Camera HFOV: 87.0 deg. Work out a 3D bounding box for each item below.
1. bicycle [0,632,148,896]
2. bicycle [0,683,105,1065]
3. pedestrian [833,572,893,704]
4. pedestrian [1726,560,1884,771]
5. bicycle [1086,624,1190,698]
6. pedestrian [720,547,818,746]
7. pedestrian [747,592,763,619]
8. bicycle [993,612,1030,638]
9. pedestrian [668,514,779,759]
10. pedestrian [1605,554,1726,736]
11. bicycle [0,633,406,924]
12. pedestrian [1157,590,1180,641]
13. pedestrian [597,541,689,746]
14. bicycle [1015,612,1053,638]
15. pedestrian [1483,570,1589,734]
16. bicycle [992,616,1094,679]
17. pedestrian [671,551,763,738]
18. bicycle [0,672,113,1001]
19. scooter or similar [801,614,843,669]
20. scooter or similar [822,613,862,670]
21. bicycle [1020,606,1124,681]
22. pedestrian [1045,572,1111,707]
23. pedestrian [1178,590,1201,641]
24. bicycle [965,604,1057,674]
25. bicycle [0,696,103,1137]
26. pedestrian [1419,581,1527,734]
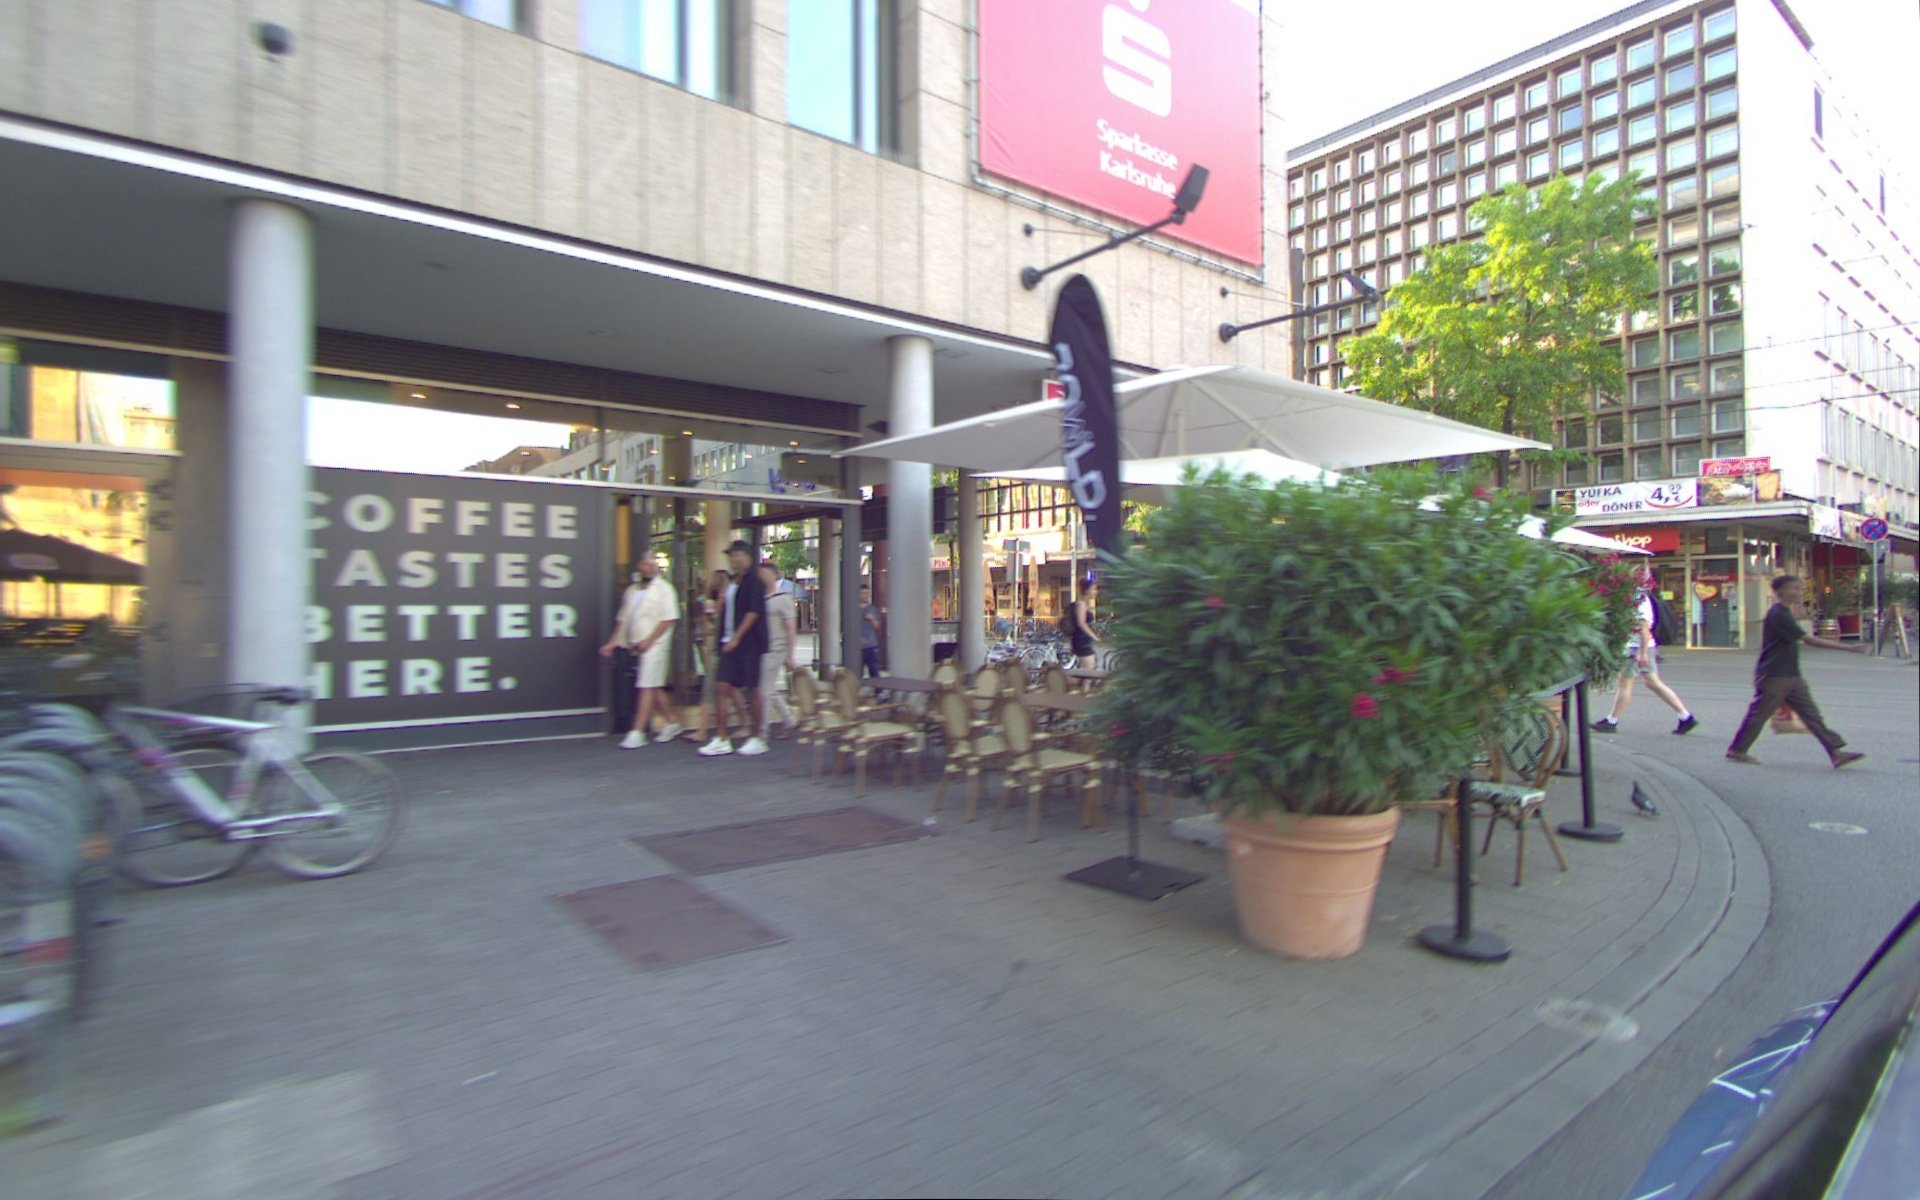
[{"bbox_3d":[-4.697,0.743,4.387,0.545,1.131,1.784,1,1,43],"label":"bicycle"},{"bbox_3d":[-3.454,0.822,2.780,1.654,1.054,0.560,0,1,-37],"label":"bicycle"},{"bbox_3d":[-1.335,0.513,13.929,0.561,1.754,0.616,2,-2,-39],"label":"pedestrian"},{"bbox_3d":[7.422,0.538,8.897,0.994,1.719,0.760,-2,-1,44],"label":"pedestrian"},{"bbox_3d":[2.912,0.970,16.432,1.825,1.123,0.665,2,-2,-41],"label":"bicycle"},{"bbox_3d":[-1.843,0.429,9.733,0.653,1.810,0.719,2,-2,-37],"label":"pedestrian"},{"bbox_3d":[-13.986,0.372,69.103,0.674,1.815,0.990,-3,1,-37],"label":"pedestrian"},{"bbox_3d":[2.231,1.059,43.315,1.748,1.002,0.488,-2,-1,-44],"label":"bicycle"},{"bbox_3d":[-2.098,0.311,8.972,0.676,2.039,0.782,2,-2,-37],"label":"pedestrian"},{"bbox_3d":[7.760,0.460,11.194,1.035,1.887,1.005,-1,0,33],"label":"pedestrian"},{"bbox_3d":[-3.650,0.758,4.743,1.780,1.131,0.546,0,1,-39],"label":"bicycle"},{"bbox_3d":[7.160,0.534,34.787,0.591,1.721,0.536,-1,-1,-9],"label":"pedestrian"},{"bbox_3d":[-3.058,0.401,9.747,0.652,1.872,0.719,1,-1,-32],"label":"pedestrian"},{"bbox_3d":[3.086,1.056,42.192,1.748,1.002,0.488,-2,-1,-44],"label":"bicycle"},{"bbox_3d":[6.349,0.554,11.158,0.791,1.716,0.809,2,-2,-42],"label":"pedestrian"},{"bbox_3d":[1.526,0.861,18.328,1.888,1.092,0.761,3,-3,-43],"label":"bicycle"},{"bbox_3d":[-2.470,0.434,10.289,0.653,1.810,0.719,2,-2,-37],"label":"pedestrian"},{"bbox_3d":[-3.858,0.824,3.296,1.654,1.054,0.560,0,1,-37],"label":"bicycle"},{"bbox_3d":[-3.258,0.966,23.913,0.491,1.267,1.107,-1,-2,22],"label":"scooter or similar"},{"bbox_3d":[-2.715,0.953,23.322,0.389,1.267,1.182,-1,-2,22],"label":"scooter or similar"},{"bbox_3d":[1.978,0.766,17.737,1.888,1.238,0.761,3,-3,-43],"label":"bicycle"},{"bbox_3d":[1.586,0.519,13.581,0.626,1.754,0.616,1,-2,-39],"label":"pedestrian"},{"bbox_3d":[7.857,0.527,34.636,0.591,1.721,0.536,-1,-1,-9],"label":"pedestrian"},{"bbox_3d":[1.052,0.794,20.487,1.888,1.350,0.724,3,-3,-43],"label":"bicycle"},{"bbox_3d":[-3.128,0.833,2.387,1.654,1.054,0.560,0,1,-37],"label":"bicycle"},{"bbox_3d":[5.508,0.594,10.880,0.791,1.556,0.809,2,-2,-42],"label":"pedestrian"}]
